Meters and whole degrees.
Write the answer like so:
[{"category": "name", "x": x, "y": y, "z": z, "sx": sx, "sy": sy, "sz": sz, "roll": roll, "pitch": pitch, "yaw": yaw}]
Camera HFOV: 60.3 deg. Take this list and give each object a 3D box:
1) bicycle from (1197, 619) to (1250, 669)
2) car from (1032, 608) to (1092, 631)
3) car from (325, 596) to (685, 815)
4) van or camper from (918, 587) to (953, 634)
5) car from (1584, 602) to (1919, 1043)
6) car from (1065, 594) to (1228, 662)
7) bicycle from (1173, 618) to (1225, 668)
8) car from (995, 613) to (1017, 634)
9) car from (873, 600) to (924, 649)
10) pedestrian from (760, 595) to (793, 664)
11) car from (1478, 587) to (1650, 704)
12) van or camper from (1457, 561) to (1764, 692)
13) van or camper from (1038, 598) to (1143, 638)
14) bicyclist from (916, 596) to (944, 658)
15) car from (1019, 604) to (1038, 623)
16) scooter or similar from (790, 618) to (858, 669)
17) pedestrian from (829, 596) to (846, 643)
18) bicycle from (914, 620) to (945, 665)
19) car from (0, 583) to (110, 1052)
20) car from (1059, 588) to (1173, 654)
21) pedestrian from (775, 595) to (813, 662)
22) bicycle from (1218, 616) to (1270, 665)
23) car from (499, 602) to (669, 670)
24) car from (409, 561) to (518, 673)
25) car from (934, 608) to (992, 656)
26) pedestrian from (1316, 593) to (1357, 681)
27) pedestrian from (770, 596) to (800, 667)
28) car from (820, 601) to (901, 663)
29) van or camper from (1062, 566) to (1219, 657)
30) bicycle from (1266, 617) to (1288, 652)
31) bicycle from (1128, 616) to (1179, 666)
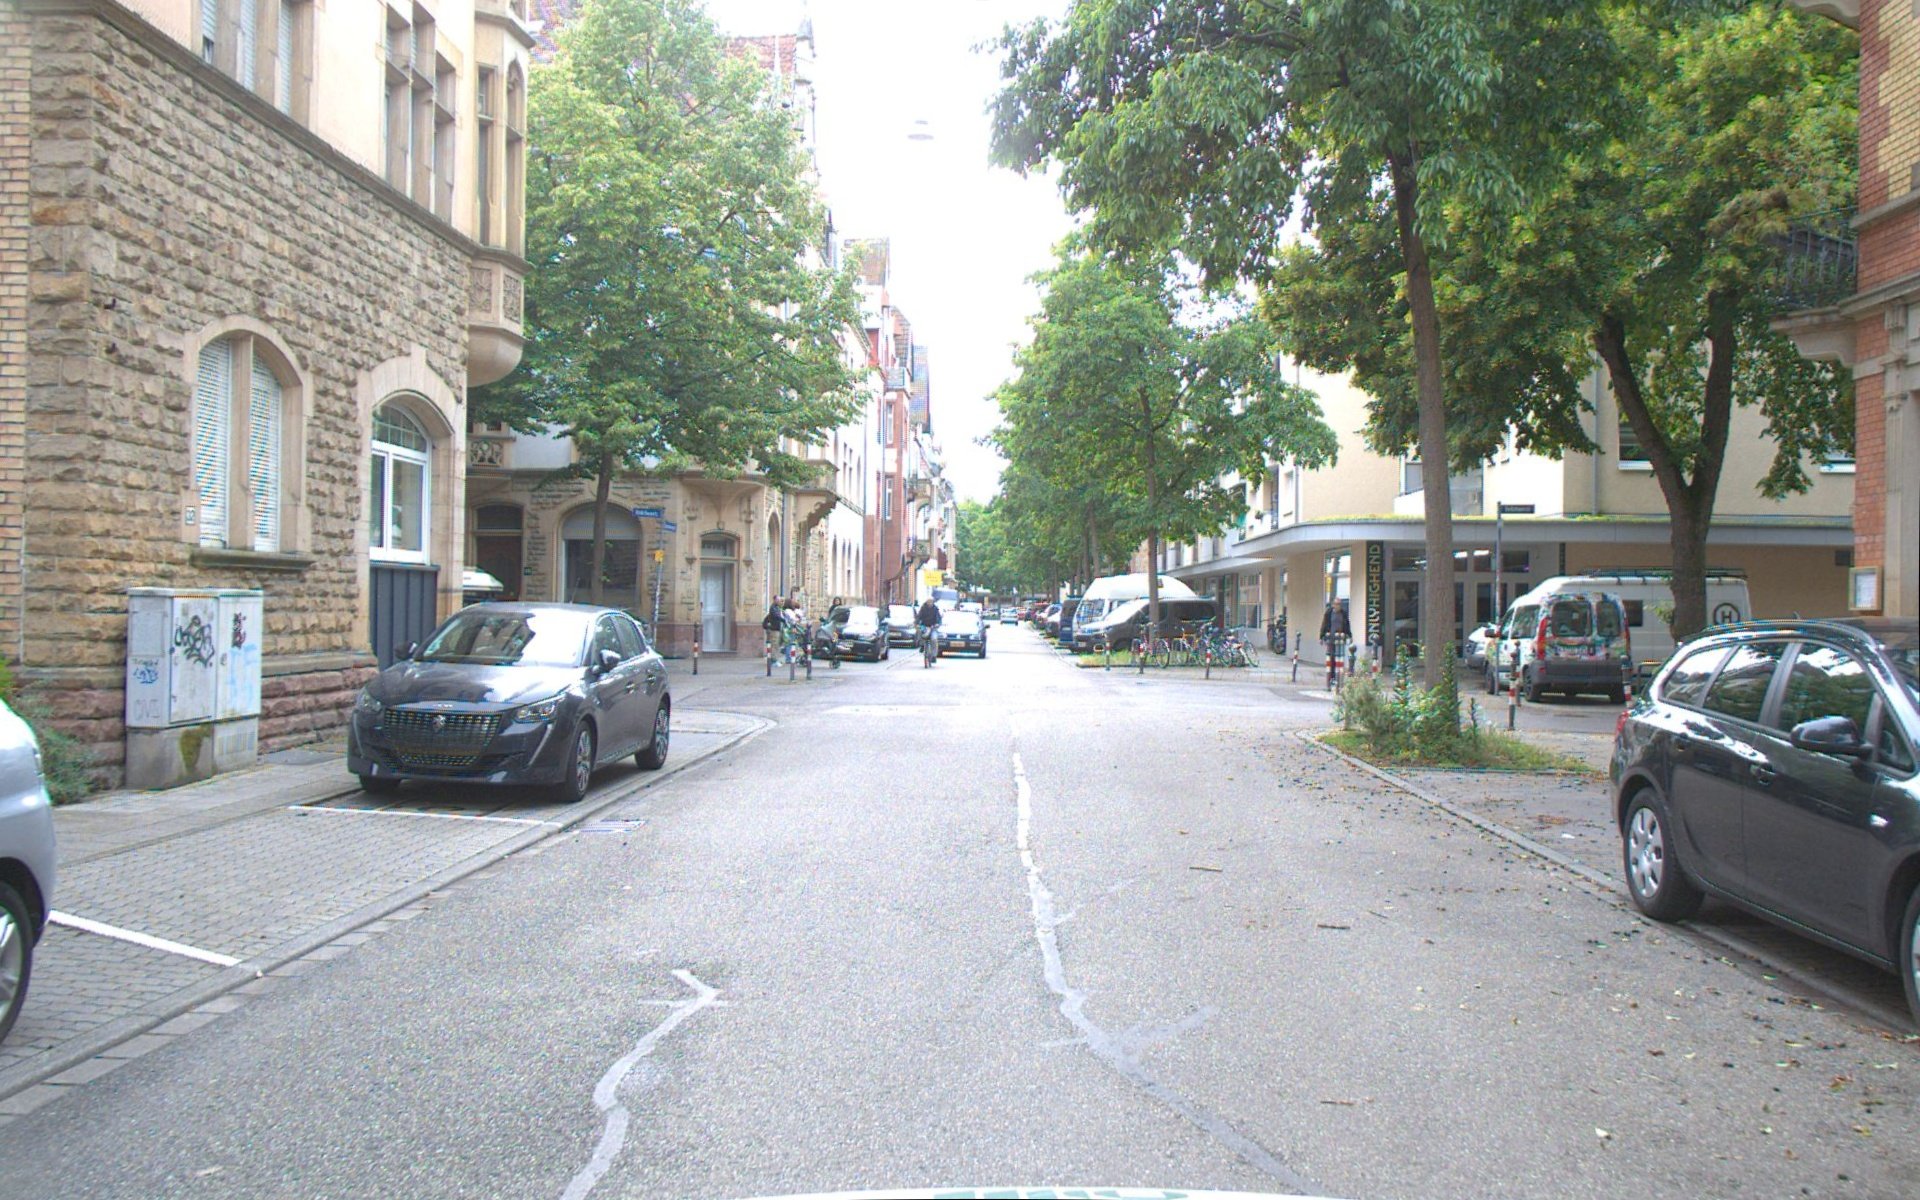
[{"category": "bicycle", "x": 6.554, "y": 1.077, "z": 41.223, "sx": 0.540, "sy": 1.194, "sz": 1.718, "roll": 1, "pitch": 0, "yaw": -19}, {"category": "car", "x": 7.300, "y": 1.390, "z": 118.153, "sx": 3.966, "sy": 1.587, "sz": 1.866, "roll": 1, "pitch": -1, "yaw": -29}, {"category": "car", "x": -3.508, "y": 0.733, "z": 13.499, "sx": 1.691, "sy": 1.459, "sz": 3.883, "roll": 2, "pitch": 0, "yaw": 2}, {"category": "van or camper", "x": -1.520, "y": 0.633, "z": 105.524, "sx": 1.966, "sy": 2.697, "sz": 5.318, "roll": 0, "pitch": 2, "yaw": 2}, {"category": "car", "x": 4.250, "y": 0.781, "z": 6.851, "sx": 1.727, "sy": 1.512, "sz": 4.480, "roll": -1, "pitch": 0, "yaw": 2}, {"category": "car", "x": 5.306, "y": 0.786, "z": 47.118, "sx": 4.274, "sy": 1.886, "sz": 1.897, "roll": 0, "pitch": 0, "yaw": -24}, {"category": "bicycle", "x": 5.917, "y": 1.049, "z": 41.058, "sx": 0.540, "sy": 1.194, "sz": 1.718, "roll": 1, "pitch": 0, "yaw": -19}, {"category": "car", "x": 4.293, "y": 2.230, "z": 153.688, "sx": 1.952, "sy": 1.825, "sz": 4.001, "roll": 2, "pitch": -1, "yaw": 3}, {"category": "car", "x": -2.200, "y": 0.857, "z": 59.443, "sx": 1.612, "sy": 1.598, "sz": 2.957, "roll": 2, "pitch": 1, "yaw": 1}, {"category": "pedestrian", "x": -4.471, "y": 0.715, "z": 40.267, "sx": 0.603, "sy": 1.672, "sz": 0.604, "roll": 1, "pitch": 0, "yaw": 14}, {"category": "car", "x": 10.223, "y": 0.727, "z": 28.268, "sx": 1.733, "sy": 1.851, "sz": 4.002, "roll": 0, "pitch": 0, "yaw": 4}, {"category": "van or camper", "x": 13.488, "y": 0.496, "z": 34.687, "sx": 5.647, "sy": 2.537, "sz": 2.139, "roll": 0, "pitch": 3, "yaw": 10}, {"category": "van or camper", "x": 6.684, "y": 0.919, "z": 84.614, "sx": 4.944, "sy": 1.902, "sz": 2.109, "roll": -1, "pitch": -1, "yaw": -26}, {"category": "bicyclist", "x": -0.762, "y": 0.678, "z": 41.751, "sx": 0.634, "sy": 1.565, "sz": 0.677, "roll": 0, "pitch": -1, "yaw": 4}, {"category": "car", "x": 7.801, "y": 1.561, "z": 188.641, "sx": 1.953, "sy": 2.048, "sz": 4.000, "roll": 3, "pitch": 0, "yaw": 1}, {"category": "scooter or similar", "x": -3.260, "y": 1.029, "z": 39.645, "sx": 1.438, "sy": 1.123, "sz": 0.676, "roll": 3, "pitch": 0, "yaw": 13}, {"category": "pedestrian", "x": -4.041, "y": 0.632, "z": 54.566, "sx": 0.504, "sy": 1.545, "sz": 0.547, "roll": 0, "pitch": 0, "yaw": 2}, {"category": "bicycle", "x": -0.754, "y": 1.062, "z": 41.731, "sx": 0.620, "sy": 1.113, "sz": 1.800, "roll": 0, "pitch": -1, "yaw": 4}, {"category": "car", "x": -3.774, "y": 0.664, "z": 3.834, "sx": 1.556, "sy": 1.459, "sz": 3.810, "roll": 2, "pitch": 0, "yaw": 1}, {"category": "car", "x": 5.558, "y": 0.737, "z": 58.427, "sx": 2.027, "sy": 2.235, "sz": 4.380, "roll": 0, "pitch": 0, "yaw": 37}, {"category": "pedestrian", "x": -4.102, "y": 0.697, "z": 40.916, "sx": 0.620, "sy": 1.621, "sz": 0.665, "roll": 1, "pitch": 0, "yaw": 43}, {"category": "bicycle", "x": 7.130, "y": 1.010, "z": 41.567, "sx": 0.540, "sy": 1.194, "sz": 1.688, "roll": 1, "pitch": 0, "yaw": -19}, {"category": "car", "x": -8.744, "y": 0.821, "z": 38.575, "sx": 3.492, "sy": 1.485, "sz": 1.651, "roll": 0, "pitch": 1, "yaw": 11}, {"category": "car", "x": -9.439, "y": 0.307, "z": 31.689, "sx": 1.796, "sy": 2.002, "sz": 3.947, "roll": 1, "pitch": 0, "yaw": -14}, {"category": "car", "x": 0.117, "y": 1.013, "z": 51.628, "sx": 1.672, "sy": 1.438, "sz": 3.853, "roll": 0, "pitch": -1, "yaw": 2}, {"category": "pedestrian", "x": 8.000, "y": 0.782, "z": 35.148, "sx": 0.762, "sy": 1.828, "sz": 0.509, "roll": 1, "pitch": 0, "yaw": 4}, {"category": "pedestrian", "x": -4.180, "y": 0.751, "z": 39.596, "sx": 0.516, "sy": 1.672, "sz": 0.529, "roll": 2, "pitch": 0, "yaw": 14}, {"category": "car", "x": -2.636, "y": 0.872, "z": 44.668, "sx": 1.674, "sy": 1.521, "sz": 4.001, "roll": 2, "pitch": -1, "yaw": 3}, {"category": "van or camper", "x": 5.480, "y": 0.353, "z": 50.083, "sx": 4.535, "sy": 2.641, "sz": 1.891, "roll": 1, "pitch": 0, "yaw": -31}, {"category": "bicycle", "x": 10.306, "y": 1.107, "z": 53.827, "sx": 0.474, "sy": 1.109, "sz": 1.701, "roll": 0, "pitch": 0, "yaw": 4}, {"category": "bicycle", "x": 4.742, "y": 0.992, "z": 40.554, "sx": 0.540, "sy": 1.194, "sz": 1.718, "roll": 1, "pitch": 0, "yaw": -19}]
